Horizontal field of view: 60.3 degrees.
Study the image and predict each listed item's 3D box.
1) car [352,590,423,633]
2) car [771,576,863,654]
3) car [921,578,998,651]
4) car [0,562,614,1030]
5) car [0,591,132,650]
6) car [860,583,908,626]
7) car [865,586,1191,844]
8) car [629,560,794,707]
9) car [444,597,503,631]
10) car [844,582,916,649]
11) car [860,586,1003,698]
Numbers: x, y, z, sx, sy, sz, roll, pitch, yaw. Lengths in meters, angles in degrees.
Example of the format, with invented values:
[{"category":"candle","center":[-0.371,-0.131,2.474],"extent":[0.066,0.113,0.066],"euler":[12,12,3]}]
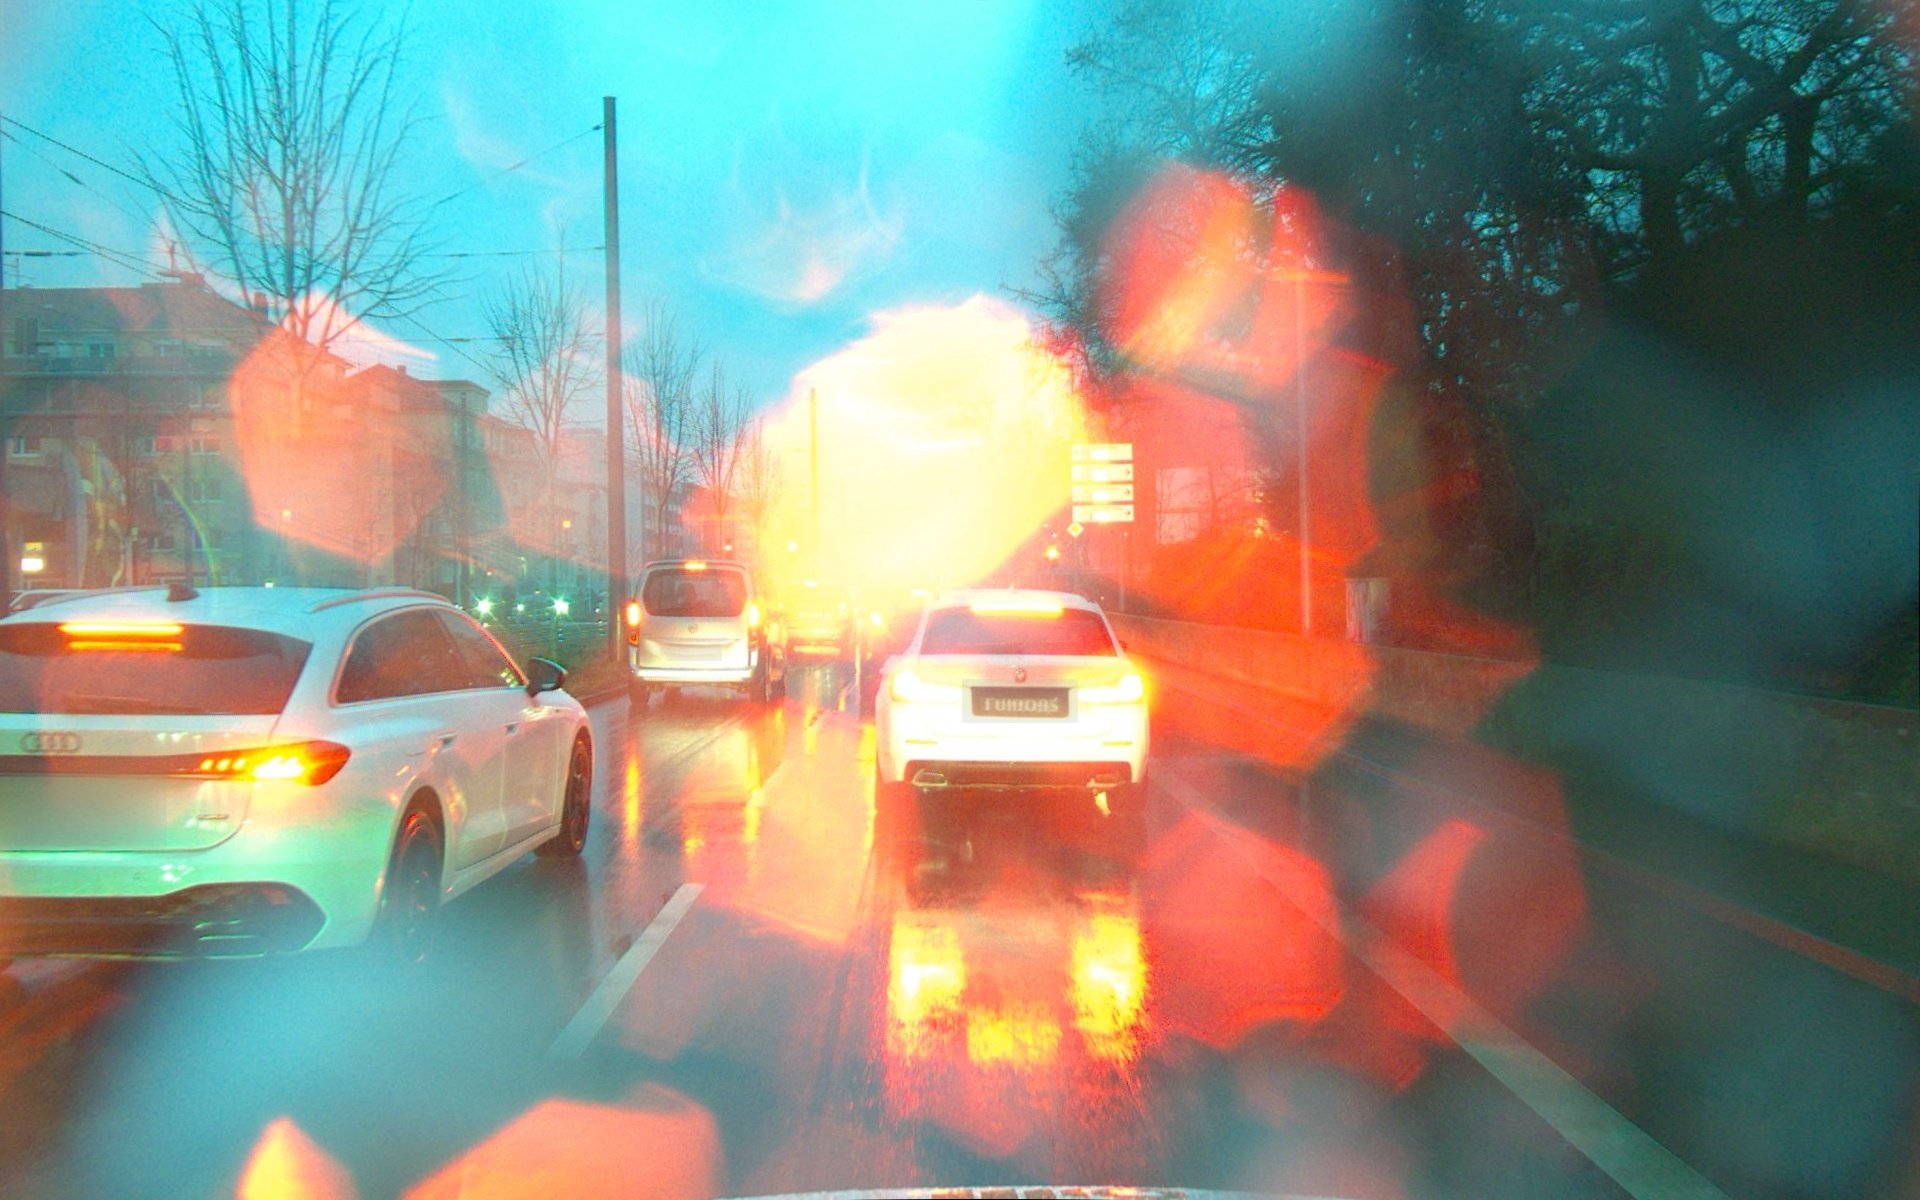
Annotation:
[{"category":"car","center":[-27.437,0.519,79.432],"extent":[1.954,1.945,5.159],"euler":[-1,1,-4]},{"category":"car","center":[-3.197,0.299,37.629],"extent":[1.770,1.674,3.999],"euler":[0,0,-1]},{"category":"car","center":[-0.030,0.314,40.265],"extent":[1.770,1.674,3.999],"euler":[0,0,-1]},{"category":"car","center":[-2.901,0.593,7.367],"extent":[1.809,1.430,4.613],"euler":[0,0,-1]},{"category":"car","center":[-32.557,0.725,58.888],"extent":[1.966,1.945,5.129],"euler":[-1,1,43]},{"category":"car","center":[-3.024,0.173,66.594],"extent":[1.770,1.674,3.999],"euler":[0,0,-1]},{"category":"car","center":[0.376,0.670,11.991],"extent":[1.959,1.534,4.163],"euler":[0,0,-1]},{"category":"car","center":[-3.238,0.402,22.332],"extent":[1.757,1.766,4.534],"euler":[0,0,-3]},{"category":"car","center":[-24.962,0.697,85.027],"extent":[1.858,1.662,4.578],"euler":[-1,0,-3]},{"category":"car","center":[-2.222,0.417,46.916],"extent":[1.953,1.785,3.999],"euler":[0,0,-2]},{"category":"car","center":[-0.406,0.533,24.039],"extent":[1.896,1.483,4.163],"euler":[0,0,-1]}]
